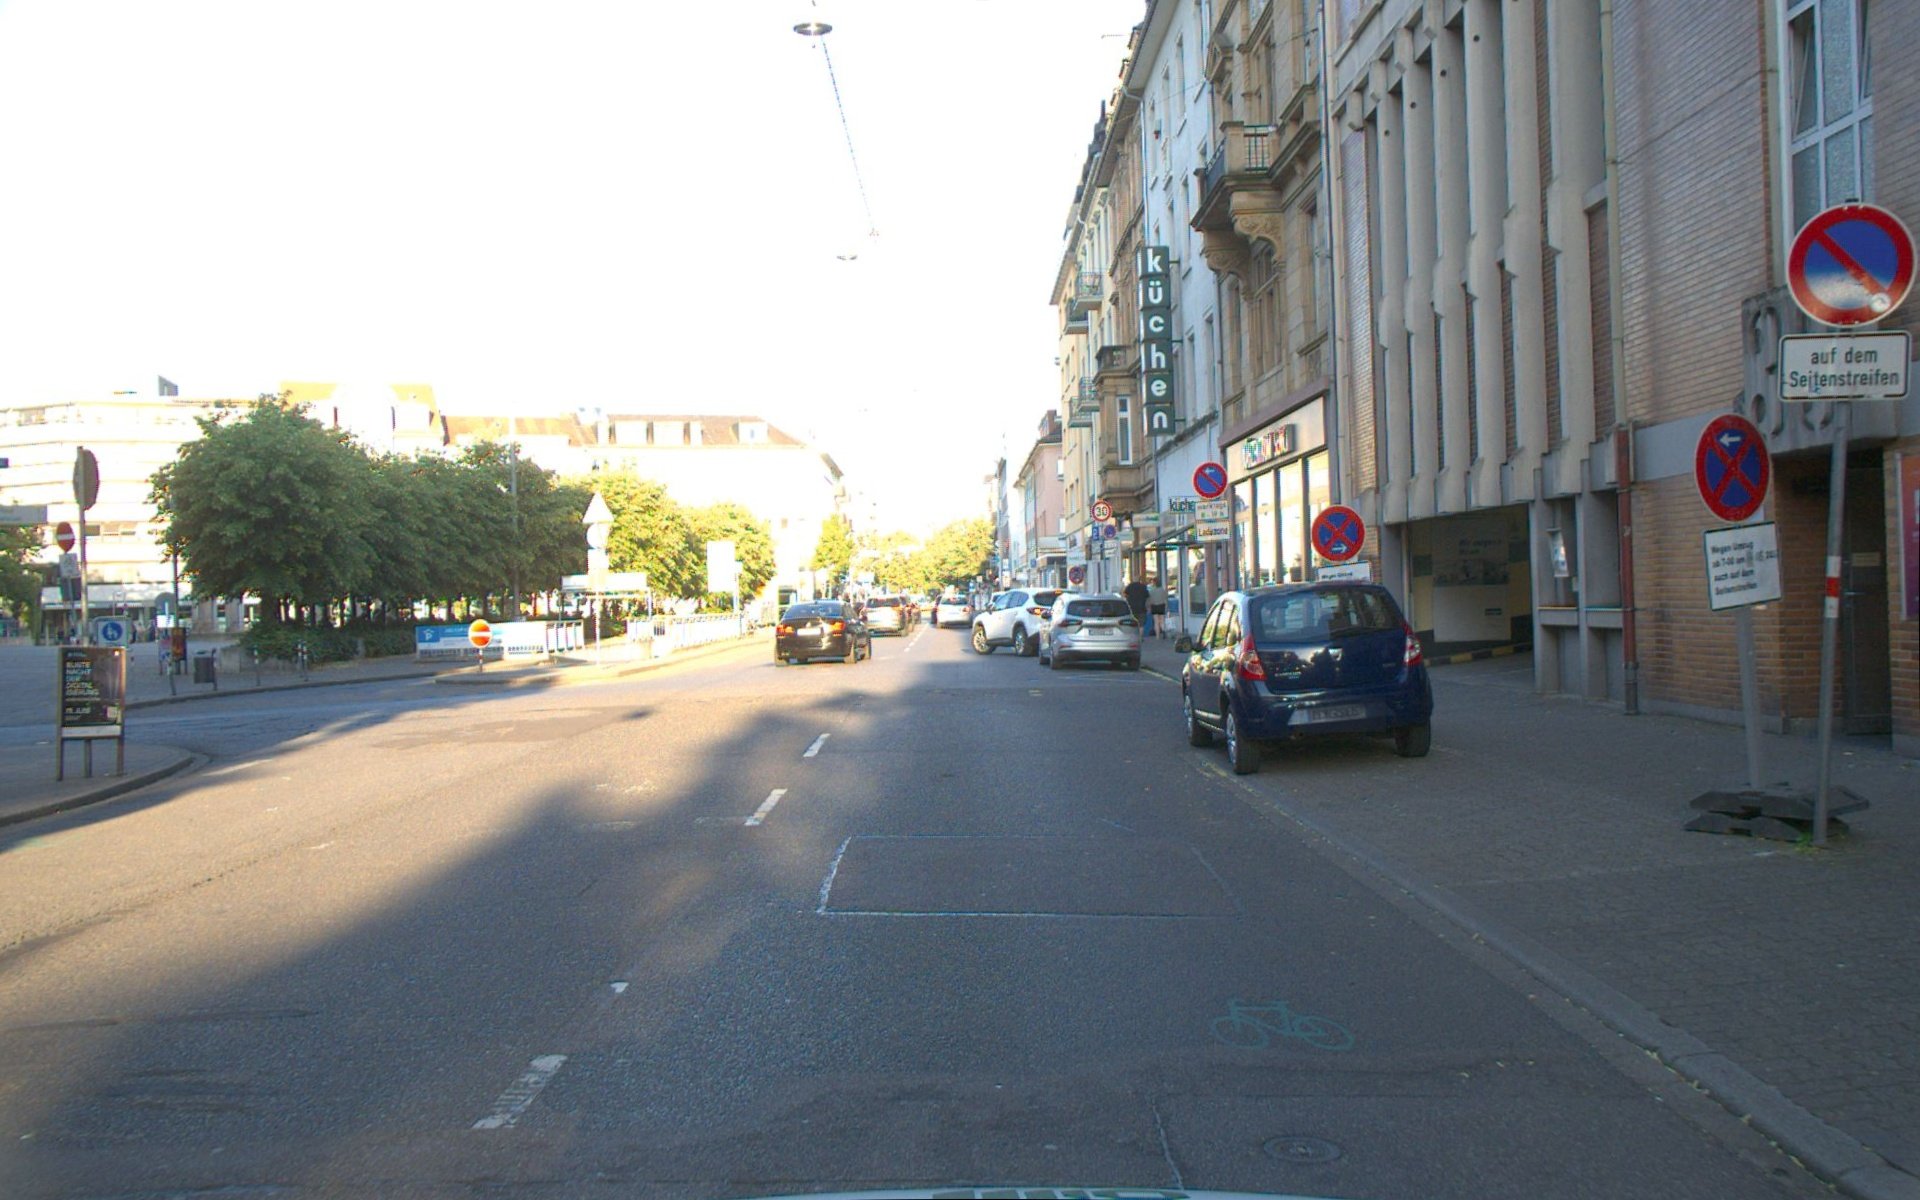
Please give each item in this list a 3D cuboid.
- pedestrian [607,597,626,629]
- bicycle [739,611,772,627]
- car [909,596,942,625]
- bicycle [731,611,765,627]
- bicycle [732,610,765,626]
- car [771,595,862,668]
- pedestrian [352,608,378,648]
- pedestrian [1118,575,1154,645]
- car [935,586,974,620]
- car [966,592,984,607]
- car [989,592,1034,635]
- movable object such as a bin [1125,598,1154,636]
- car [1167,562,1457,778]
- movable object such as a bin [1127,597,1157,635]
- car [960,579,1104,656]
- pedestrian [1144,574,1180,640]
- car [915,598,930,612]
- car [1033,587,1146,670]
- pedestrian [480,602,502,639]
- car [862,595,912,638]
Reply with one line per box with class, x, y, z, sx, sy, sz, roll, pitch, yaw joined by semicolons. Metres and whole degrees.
pedestrian;-17.798;0.662;85.712;0.774;1.623;0.568;-1;0;19
bicycle;-11.351;1.039;92.011;1.789;0.868;0.483;1;0;-4
car;-1.999;0.617;95.453;1.858;1.609;3.851;1;0;-1
bicycle;-11.553;1.036;90.205;1.789;0.868;0.483;1;0;-4
bicycle;-11.891;1.032;92.915;1.789;0.868;0.483;1;0;-4
car;-3.301;0.694;38.697;1.858;1.609;3.999;0;0;-1
pedestrian;-23.937;1.123;66.553;0.774;1.623;0.568;-1;0;19
pedestrian;4.824;0.271;45.354;0.757;1.859;1.010;-3;0;-1
car;-0.293;0.156;81.767;1.858;1.609;3.999;0;0;-1
car;1.650;-0.086;186.008;1.858;1.608;3.851;-2;0;-1
car;2.091;0.555;67.869;1.694;1.679;4.284;0;-1;0
movable object such as a bin;5.442;0.504;50.150;0.759;1.089;0.618;-4;0;-1
car;3.045;0.548;15.135;1.723;1.563;4.000;-5;0;0
movable object such as a bin;5.429;0.479;49.476;0.759;1.089;0.618;-4;0;-1
car;1.765;0.453;42.146;1.966;1.792;4.435;-2;0;-22
pedestrian;5.557;0.180;45.514;0.757;1.741;1.042;-3;0;-1
car;-4.321;0.591;190.184;1.743;1.574;3.999;-1;0;-1
car;2.559;0.564;33.710;1.723;1.563;4.819;0;-1;-2
pedestrian;-20.781;0.892;73.333;0.663;1.623;0.677;-1;0;19
car;-2.934;0.653;67.021;1.858;1.678;4.103;-1;0;-1
